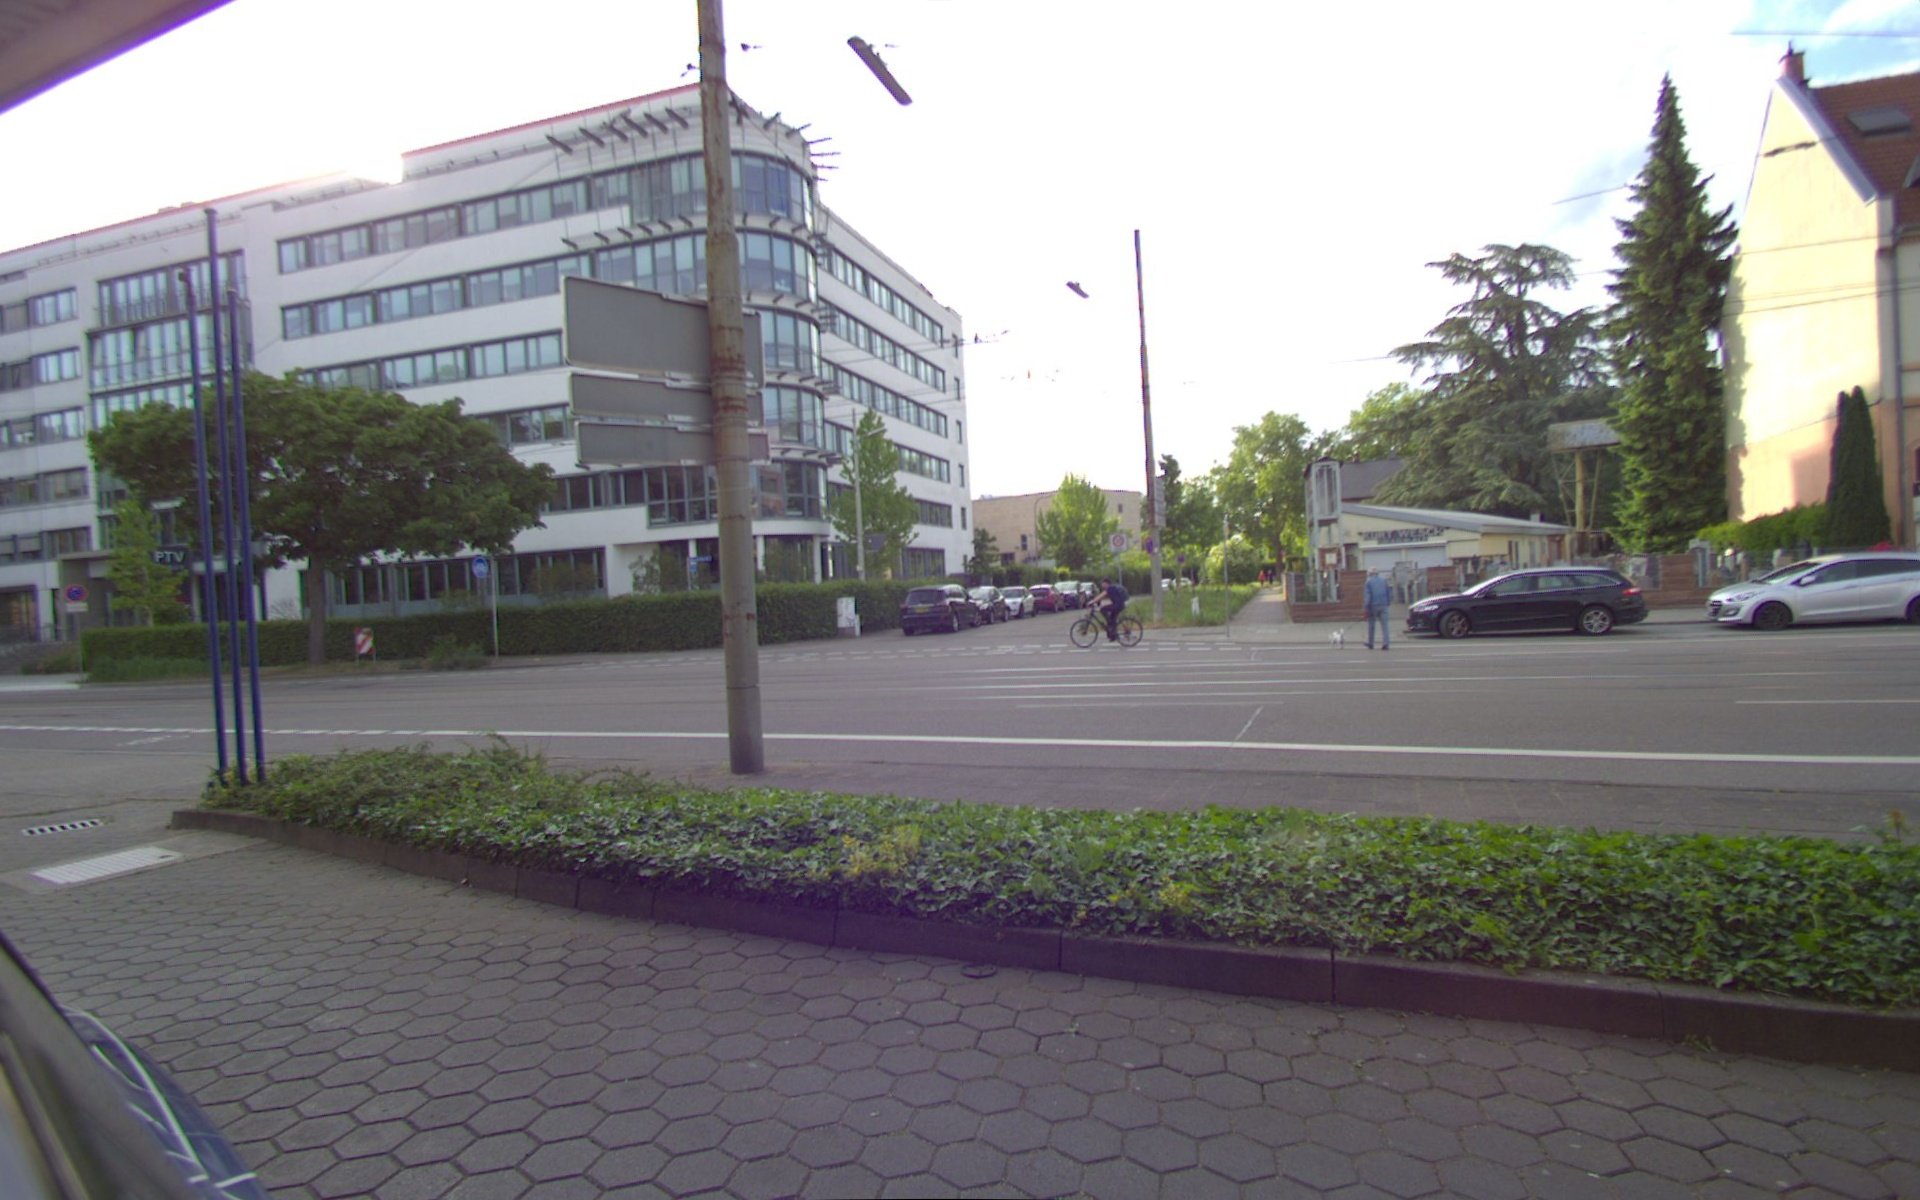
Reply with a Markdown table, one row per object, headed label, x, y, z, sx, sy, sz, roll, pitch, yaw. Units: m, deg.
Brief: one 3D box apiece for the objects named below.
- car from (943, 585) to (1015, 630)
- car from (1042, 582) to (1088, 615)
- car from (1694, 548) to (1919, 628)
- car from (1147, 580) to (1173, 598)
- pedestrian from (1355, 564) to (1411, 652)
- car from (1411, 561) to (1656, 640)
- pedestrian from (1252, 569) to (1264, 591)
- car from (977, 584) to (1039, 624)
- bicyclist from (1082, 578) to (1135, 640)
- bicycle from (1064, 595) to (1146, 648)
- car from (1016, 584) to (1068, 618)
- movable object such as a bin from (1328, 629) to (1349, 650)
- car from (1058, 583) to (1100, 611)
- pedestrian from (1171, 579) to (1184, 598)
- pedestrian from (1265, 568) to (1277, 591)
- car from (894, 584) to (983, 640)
| label | x | y | z | sx | sy | sz | roll | pitch | yaw |
| --- | --- | --- | --- | --- | --- | --- | --- | --- | --- |
| car | 0.839 | 0.278 | 40.972 | 1.807 | 1.589 | 4.175 | -4 | 0 | 16 |
| car | 6.038 | -0.124 | 57.796 | 1.807 | 1.704 | 4.392 | -4 | 0 | 16 |
| car | 18.417 | -0.264 | 21.389 | 4.349 | 1.493 | 1.732 | -3 | 1 | 22 |
| car | 19.961 | -1.112 | 100.900 | 1.811 | 1.654 | 4.044 | -4 | 0 | 22 |
| pedestrian | 8.615 | 0.156 | 20.637 | 0.902 | 1.713 | 0.920 | -3 | 0 | 18 |
| car | 13.024 | 0.012 | 23.359 | 4.632 | 1.533 | 1.842 | -3 | 2 | 22 |
| pedestrian | 25.897 | -1.749 | 87.835 | 0.965 | 1.896 | 1.056 | -1 | 0 | 17 |
| car | 2.232 | 0.160 | 45.676 | 1.807 | 1.589 | 4.175 | -4 | 0 | 16 |
| bicyclist | 3.623 | 0.210 | 24.618 | 1.165 | 1.462 | 0.787 | -1 | 0 | 16 |
| bicycle | 3.532 | 0.515 | 24.647 | 1.866 | 1.248 | 0.787 | -1 | 0 | 16 |
| car | 4.308 | 0.033 | 52.398 | 1.807 | 1.589 | 4.175 | -4 | 0 | 16 |
| movable object such as a bin | 8.096 | 0.838 | 21.648 | 0.363 | 0.397 | 0.659 | -3 | 1 | 17 |
| car | 7.392 | -0.200 | 62.562 | 1.807 | 1.585 | 4.052 | -4 | 0 | 16 |
| pedestrian | 21.619 | -1.164 | 100.650 | 0.968 | 1.896 | 1.053 | -1 | 0 | 25 |
| pedestrian | 26.871 | -1.762 | 87.545 | 0.965 | 1.896 | 1.056 | -1 | 0 | 17 |
| car | -0.678 | 0.363 | 35.556 | 1.807 | 1.701 | 4.370 | -4 | 1 | 16 |
